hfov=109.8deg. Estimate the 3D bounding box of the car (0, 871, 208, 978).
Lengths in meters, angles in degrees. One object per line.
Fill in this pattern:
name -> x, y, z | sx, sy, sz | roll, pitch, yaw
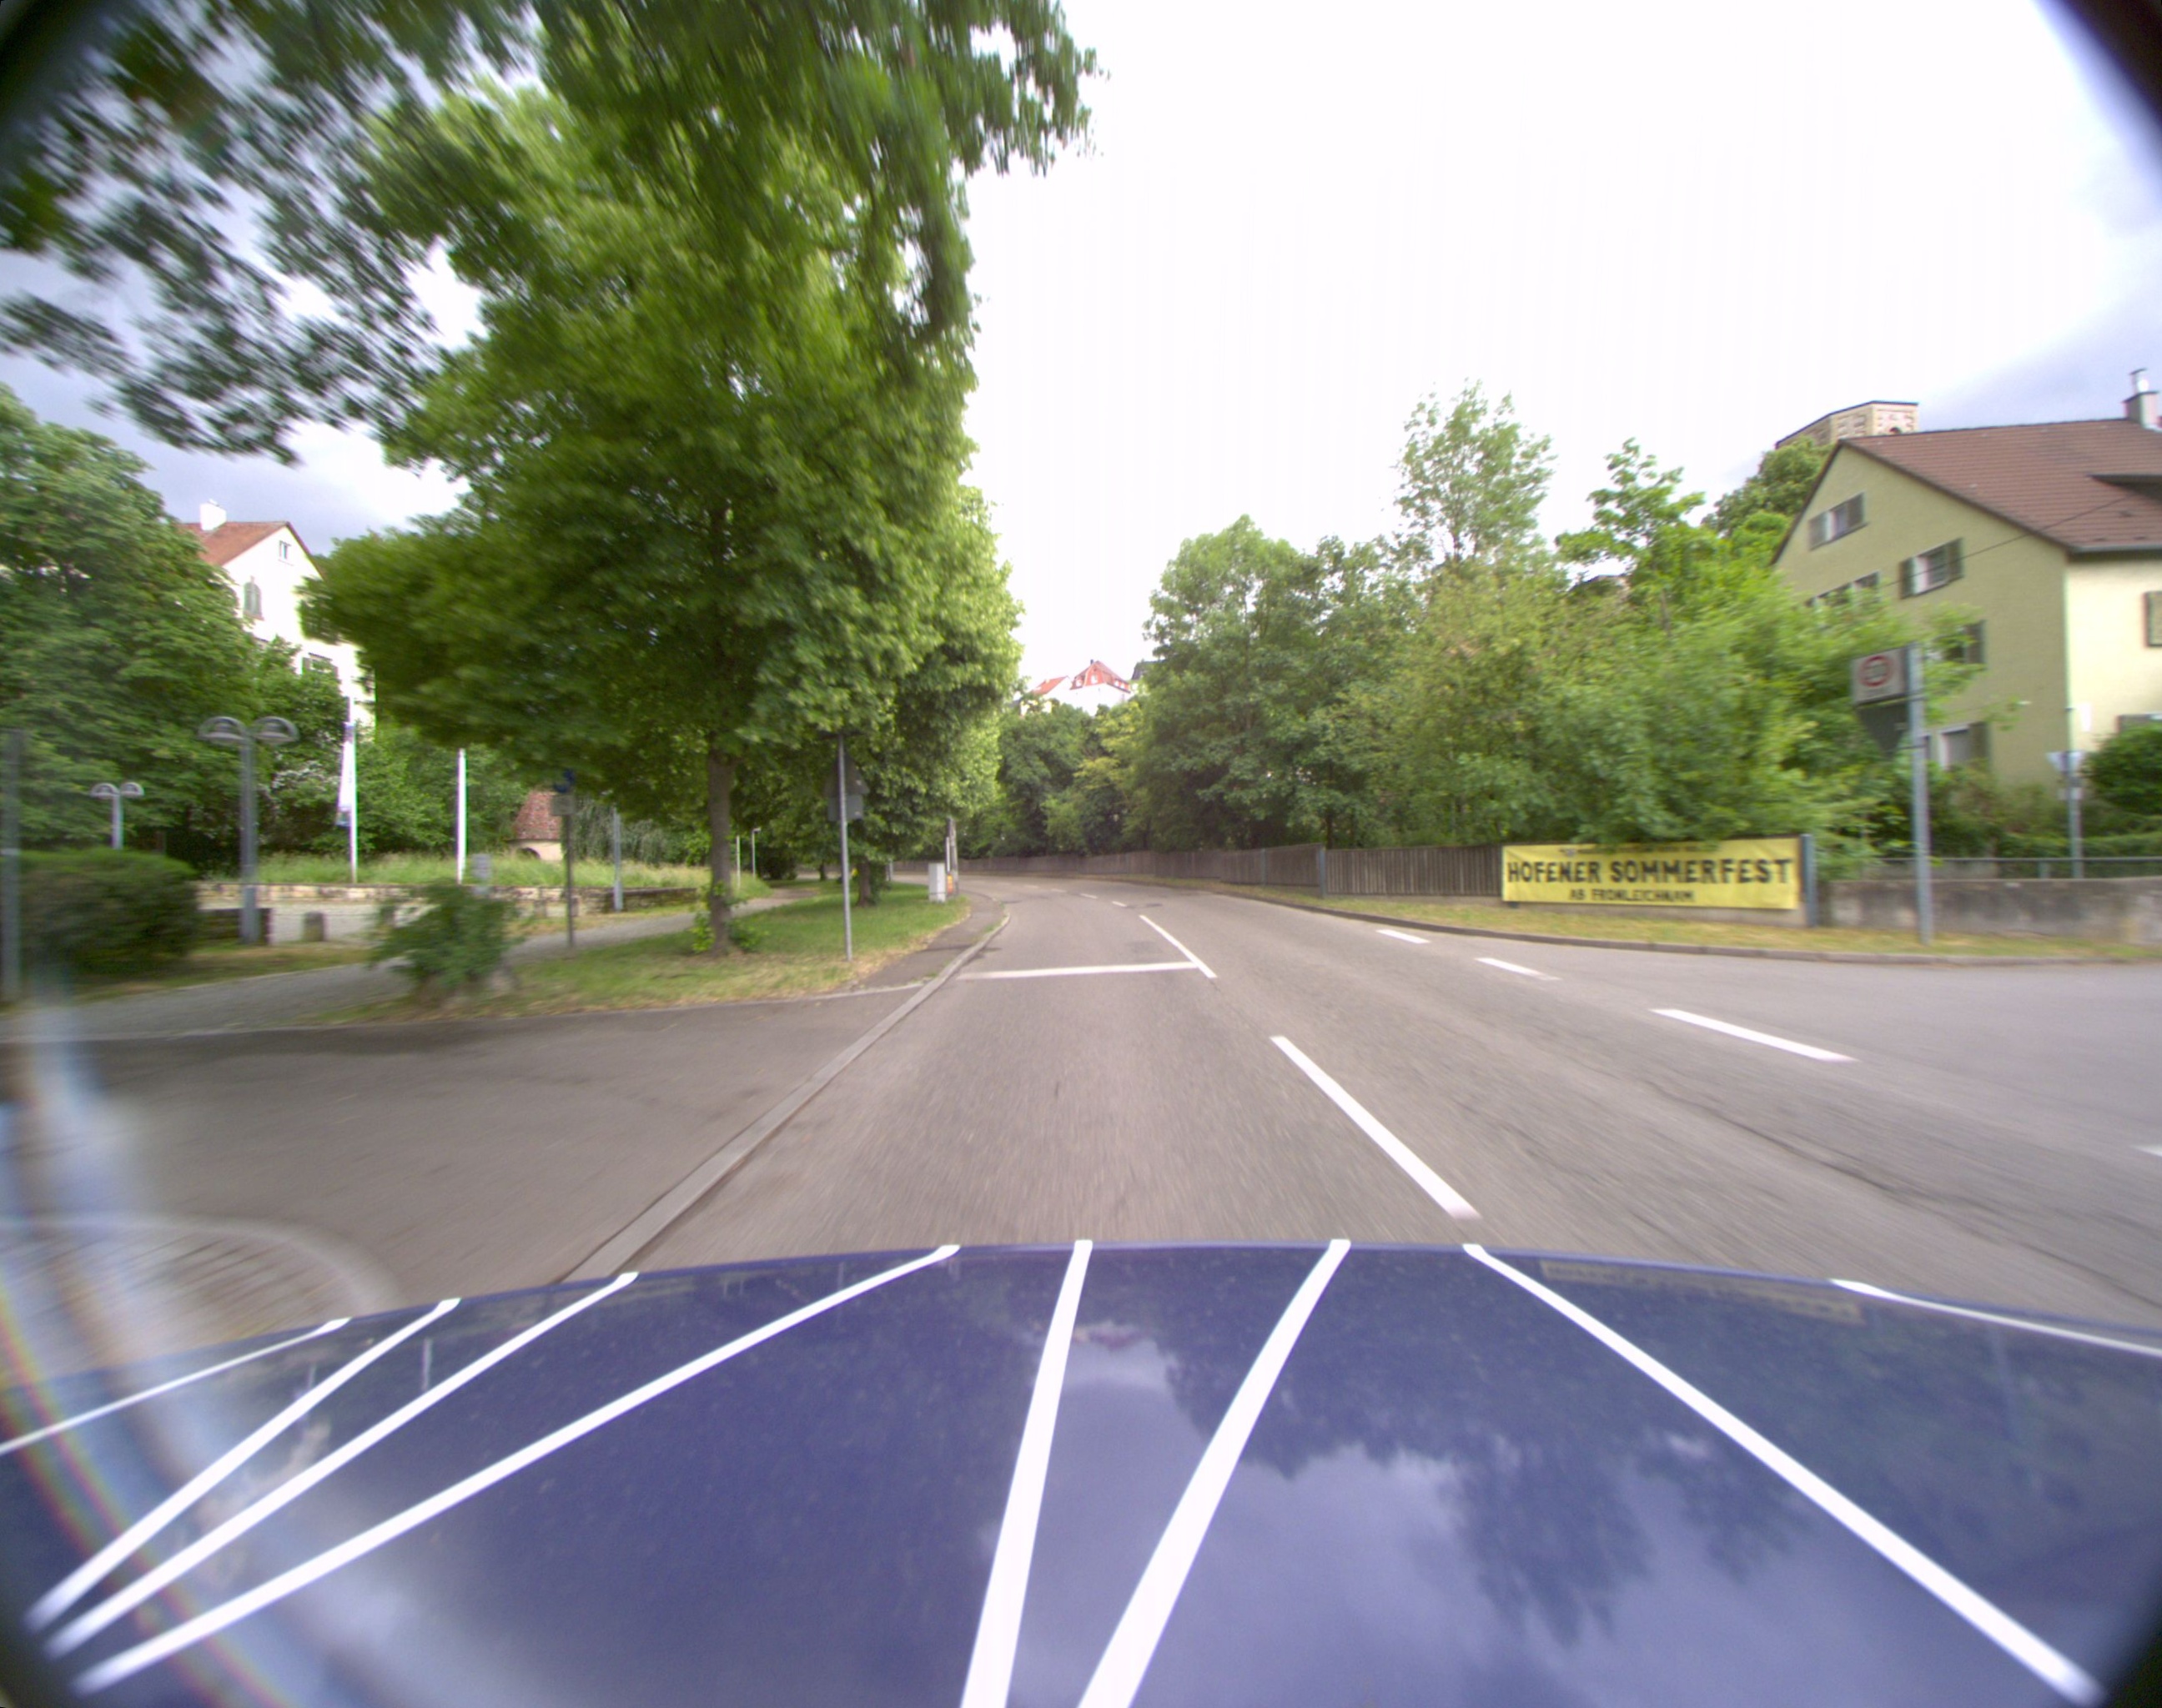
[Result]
car -> -15.388, 0.947, 10.436 | 1.912, 1.422, 4.465 | 0, -2, -7
